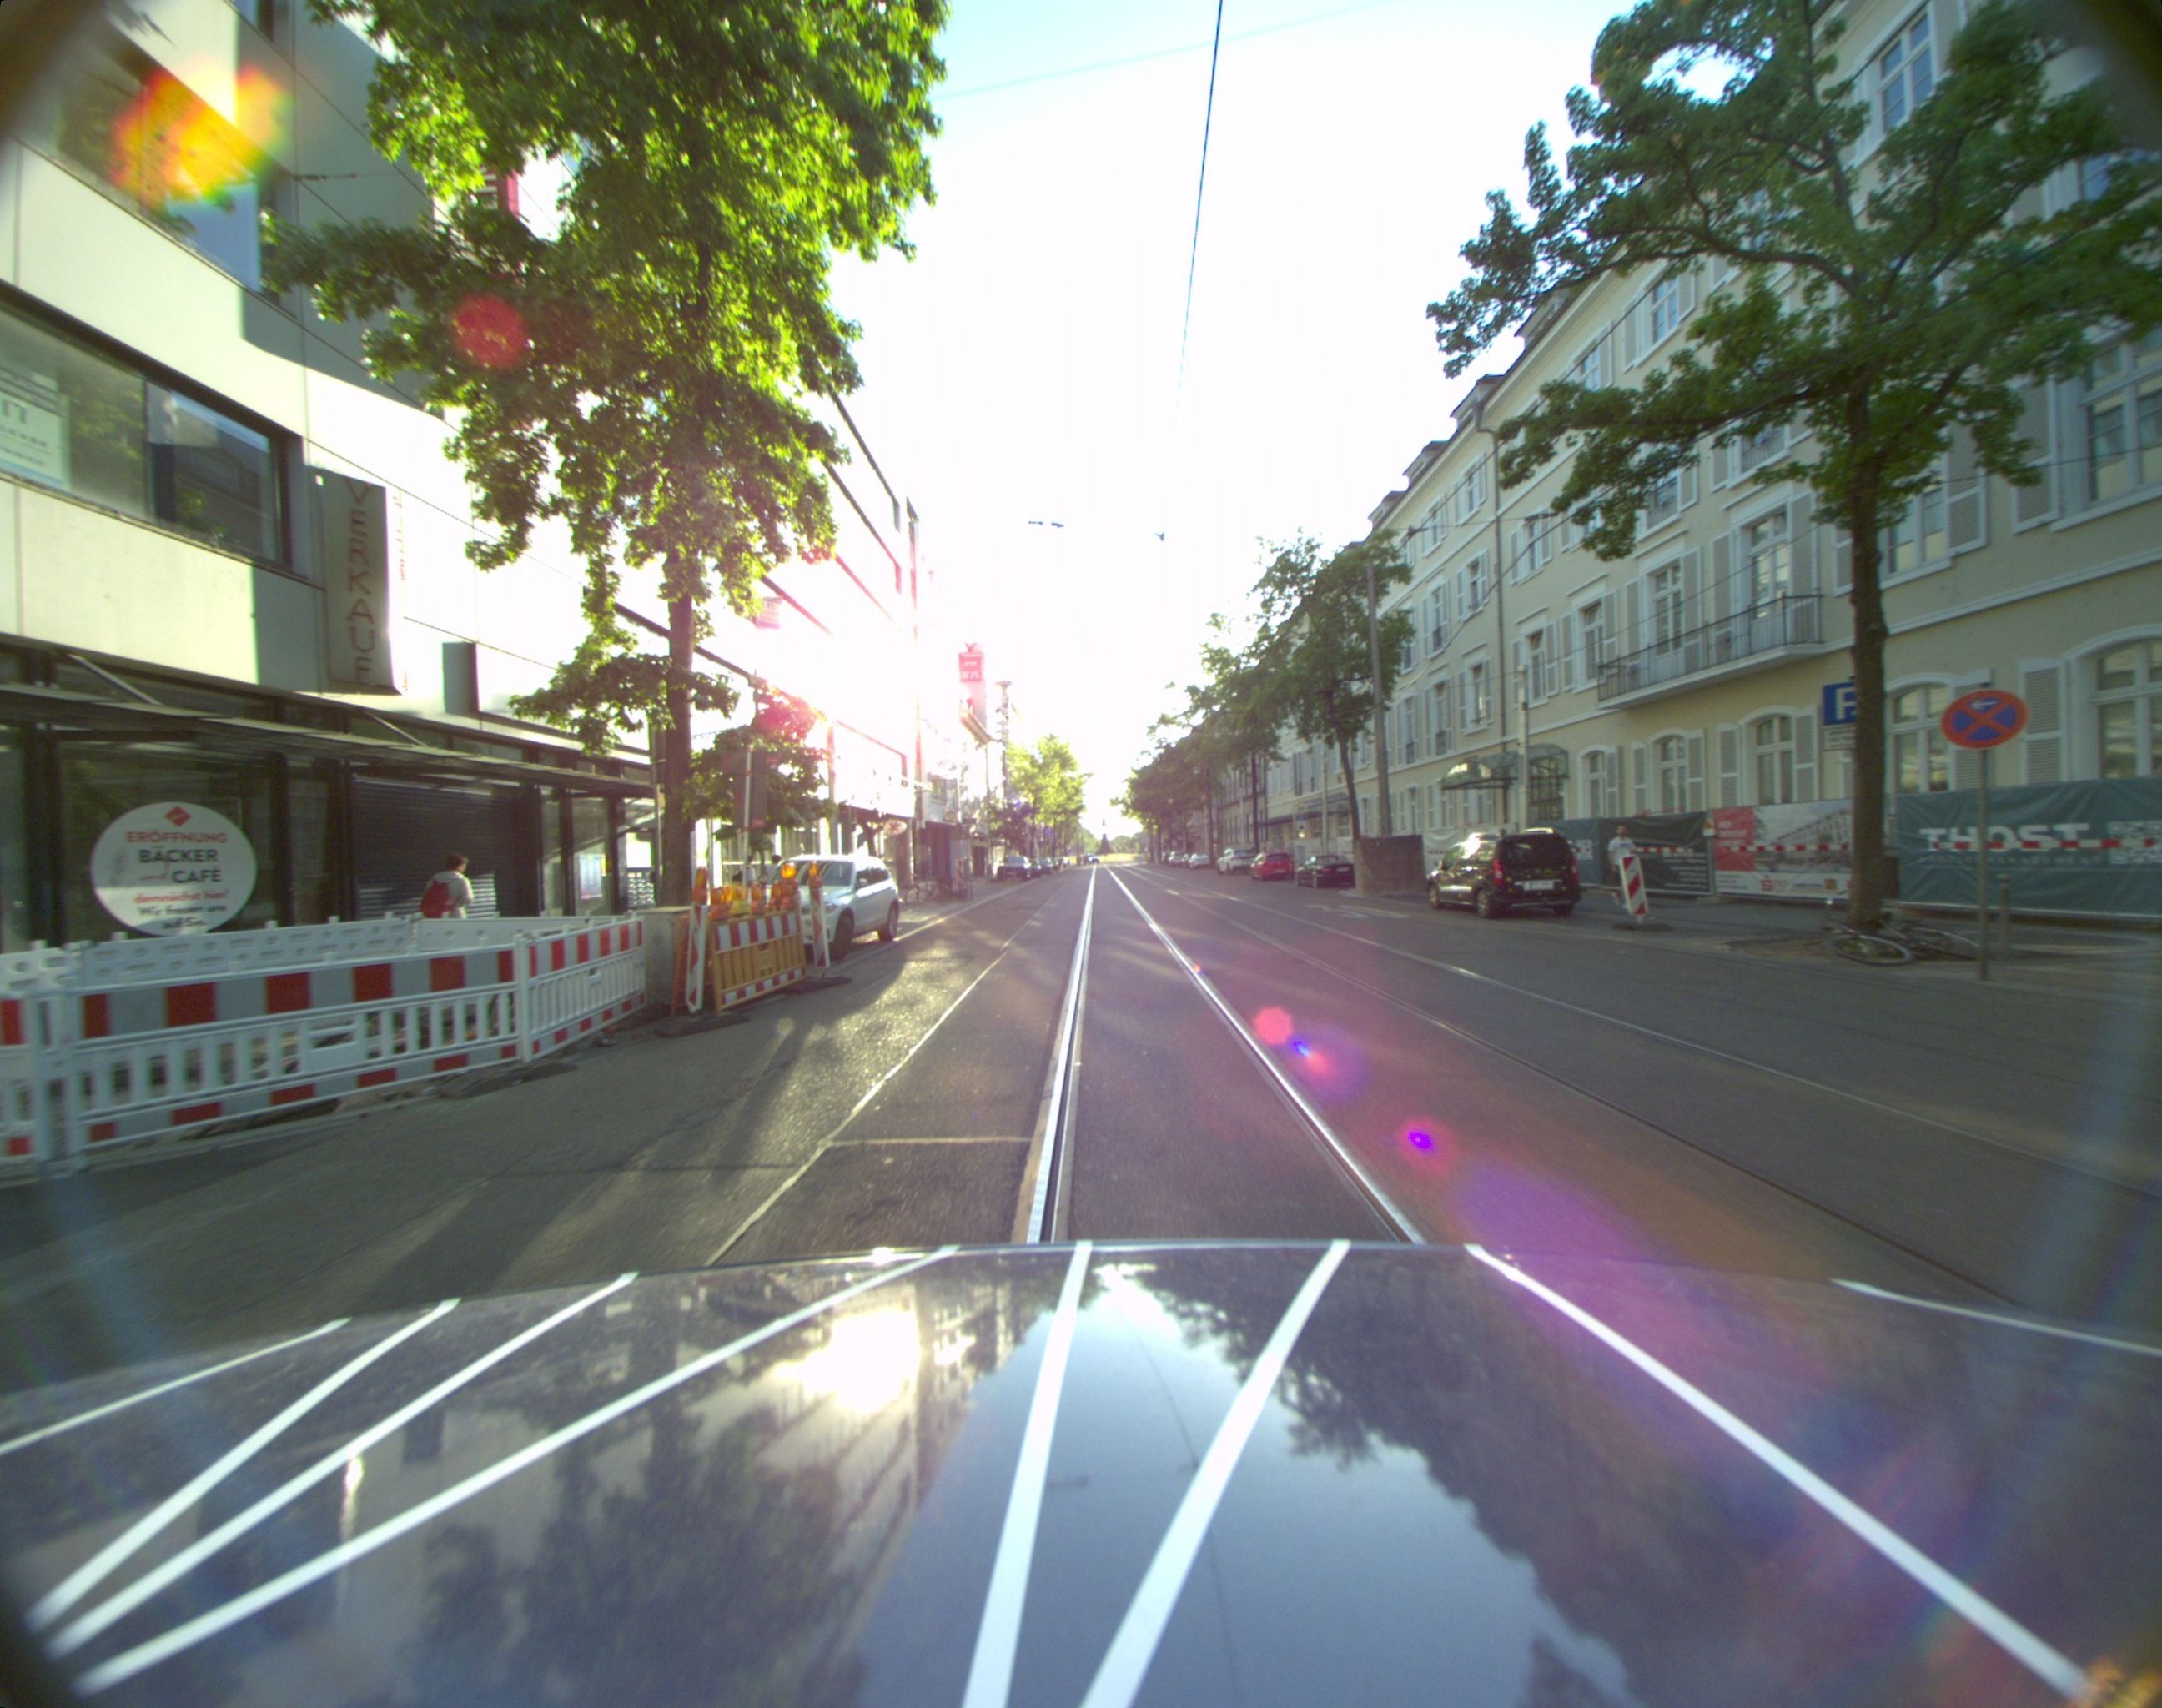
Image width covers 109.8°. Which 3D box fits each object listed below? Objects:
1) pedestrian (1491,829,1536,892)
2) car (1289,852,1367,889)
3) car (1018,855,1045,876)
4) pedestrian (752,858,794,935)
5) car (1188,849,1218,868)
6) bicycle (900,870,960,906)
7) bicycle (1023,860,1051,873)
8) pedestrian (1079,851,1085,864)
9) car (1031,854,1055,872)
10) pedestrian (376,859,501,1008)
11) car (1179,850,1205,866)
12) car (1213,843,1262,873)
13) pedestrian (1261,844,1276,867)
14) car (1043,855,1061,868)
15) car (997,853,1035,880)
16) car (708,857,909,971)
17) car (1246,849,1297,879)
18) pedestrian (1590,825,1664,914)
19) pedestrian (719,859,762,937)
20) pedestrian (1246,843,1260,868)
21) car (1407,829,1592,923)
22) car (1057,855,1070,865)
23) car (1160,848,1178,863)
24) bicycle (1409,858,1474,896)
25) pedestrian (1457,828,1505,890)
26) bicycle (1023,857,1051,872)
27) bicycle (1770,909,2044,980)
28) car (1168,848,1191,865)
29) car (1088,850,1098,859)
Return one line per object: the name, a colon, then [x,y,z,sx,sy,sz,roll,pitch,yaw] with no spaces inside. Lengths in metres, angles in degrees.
pedestrian: [12.955,0.183,22.782,0.721,1.802,0.876,-4,1,1]
car: [9.984,0.620,31.092,1.722,1.238,4.508,-4,0,1]
car: [-3.886,0.865,59.020,1.871,1.502,4.242,1,0,-7]
pedestrian: [-7.446,1.013,18.397,0.707,1.820,0.635,-2,1,1]
car: [10.859,0.386,67.894,1.897,1.458,4.617,-5,0,2]
bicycle: [-5.140,1.147,25.888,1.816,1.128,0.841,0,2,9]
bicycle: [-3.708,1.058,63.757,2.249,0.982,0.615,-2,0,3]
pedestrian: [0.130,0.473,103.743,0.705,1.858,0.792,-2,1,-1]
car: [-3.389,0.825,68.760,1.770,1.502,4.287,-2,0,2]
pedestrian: [-8.547,1.022,10.150,0.835,1.886,0.918,-1,1,4]
car: [11.073,0.407,75.791,1.745,1.458,4.342,-4,0,-1]
car: [10.149,0.245,49.638,1.870,1.679,4.950,-4,0,-2]
pedestrian: [13.569,0.123,55.089,0.746,1.571,0.933,-4,1,1]
car: [-3.231,0.828,85.951,1.798,1.502,3.986,1,0,1]
car: [-4.317,0.786,51.173,1.985,1.679,4.874,1,0,1]
car: [-4.813,0.948,14.324,2.028,1.727,4.906,1,0,0]
car: [9.958,0.478,40.014,1.664,1.397,4.141,-4,0,2]
pedestrian: [11.588,0.320,16.153,0.776,1.782,0.984,-4,1,3]
pedestrian: [-8.163,1.031,18.233,0.690,1.820,0.635,-2,1,1]
pedestrian: [12.461,0.129,55.100,0.746,1.732,0.934,-4,1,2]
car: [9.391,0.436,17.559,1.862,1.821,4.559,-3,0,3]
car: [-2.530,0.825,110.148,1.564,1.391,3.698,1,0,1]
car: [11.800,0.204,102.256,1.931,1.946,4.766,-1,0,1]
bicycle: [11.453,0.708,24.236,0.760,1.115,2.045,-5,1,-10]
pedestrian: [12.002,0.158,22.847,0.867,1.771,0.884,-4,1,1]
bicycle: [-3.765,0.907,65.530,2.325,1.181,0.751,-2,0,3]
bicycle: [9.671,1.047,9.014,1.799,0.605,1.282,-3,0,5]
car: [11.275,0.310,87.388,1.952,1.731,4.766,-4,0,1]
car: [2.168,0.119,137.155,1.827,1.603,3.796,-1,0,2]
